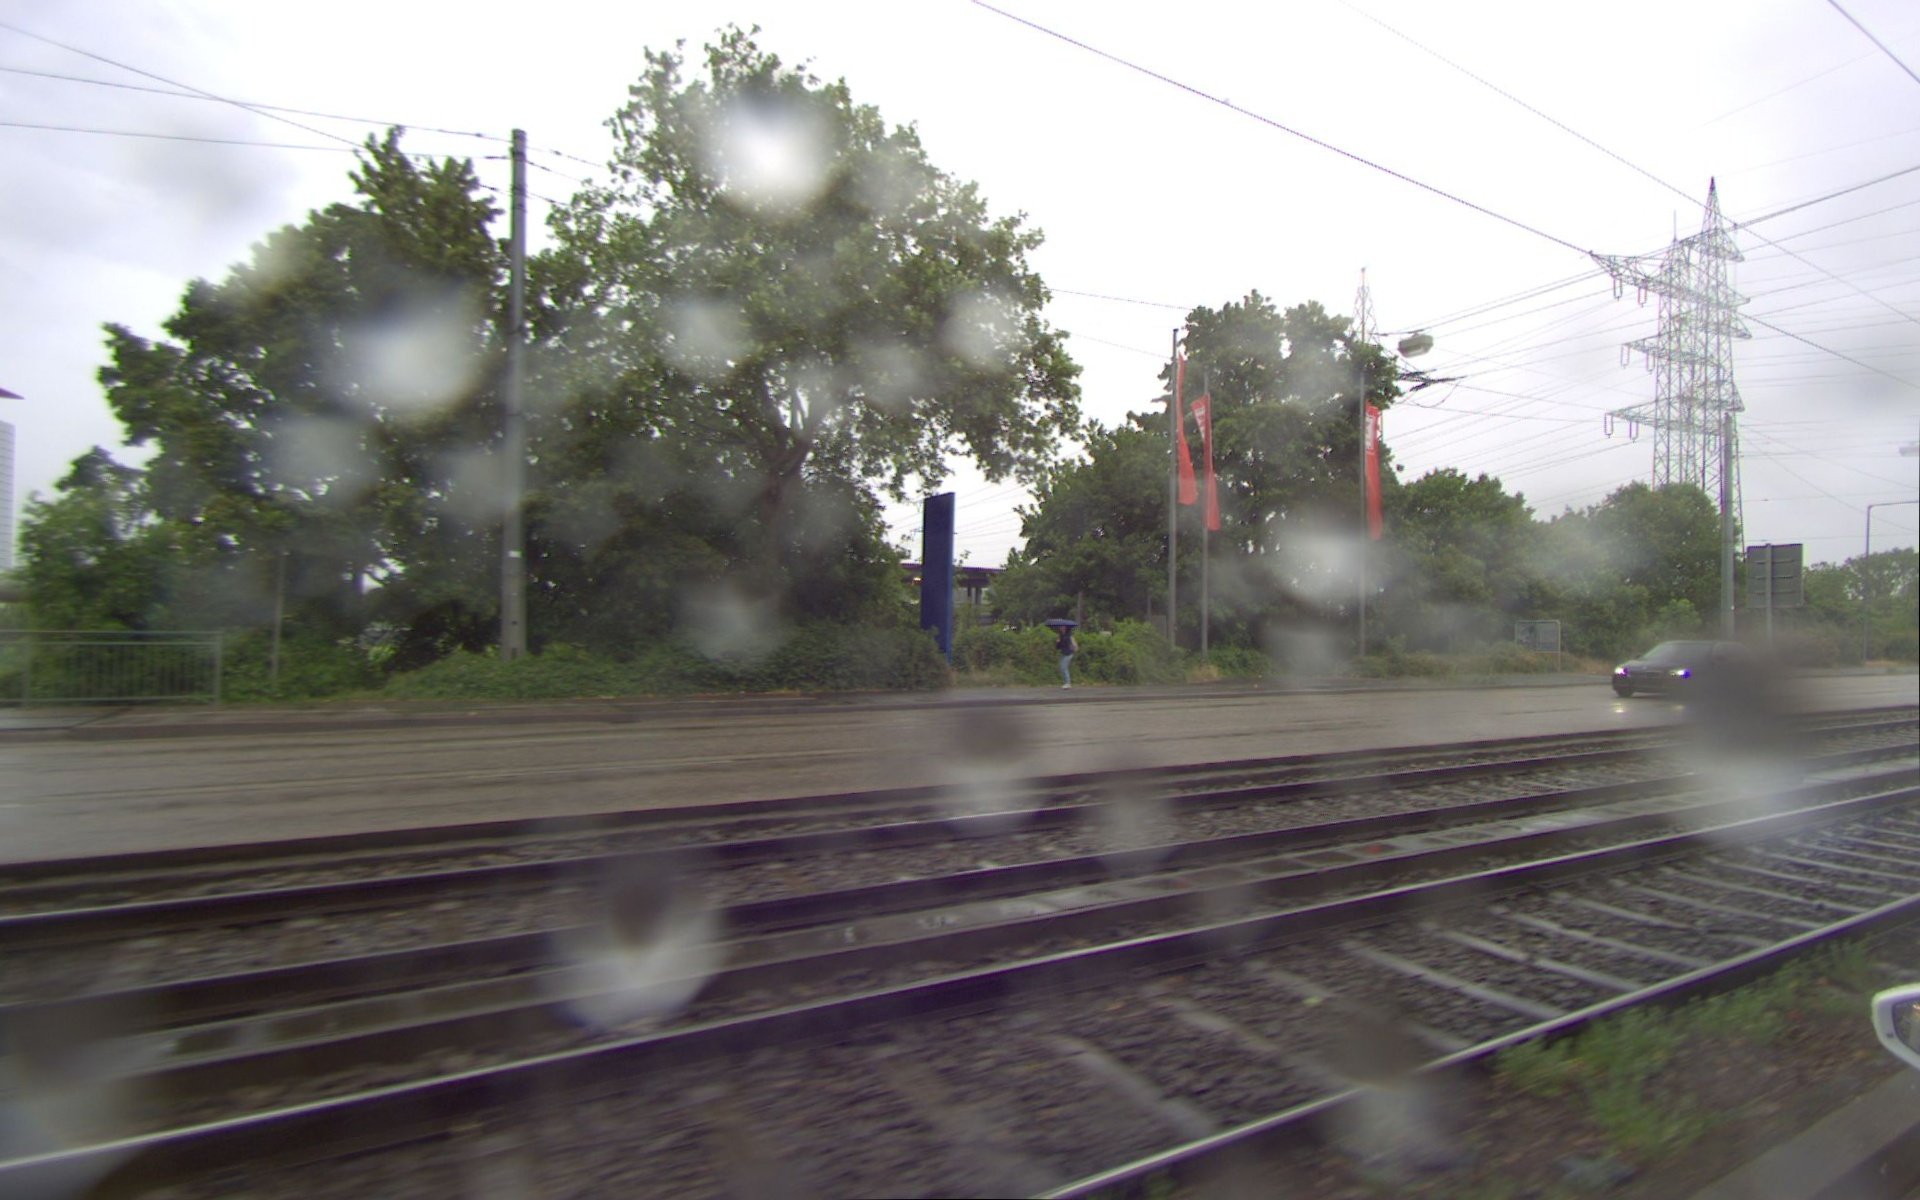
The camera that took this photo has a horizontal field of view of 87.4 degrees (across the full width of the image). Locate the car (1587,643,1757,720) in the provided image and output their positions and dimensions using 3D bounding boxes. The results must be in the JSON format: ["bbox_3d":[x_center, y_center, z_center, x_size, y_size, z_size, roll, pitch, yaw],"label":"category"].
[{"bbox_3d":[17.972,1.988,25.318,4.345,1.664,1.879,1,0,-30],"label":"car"}]
